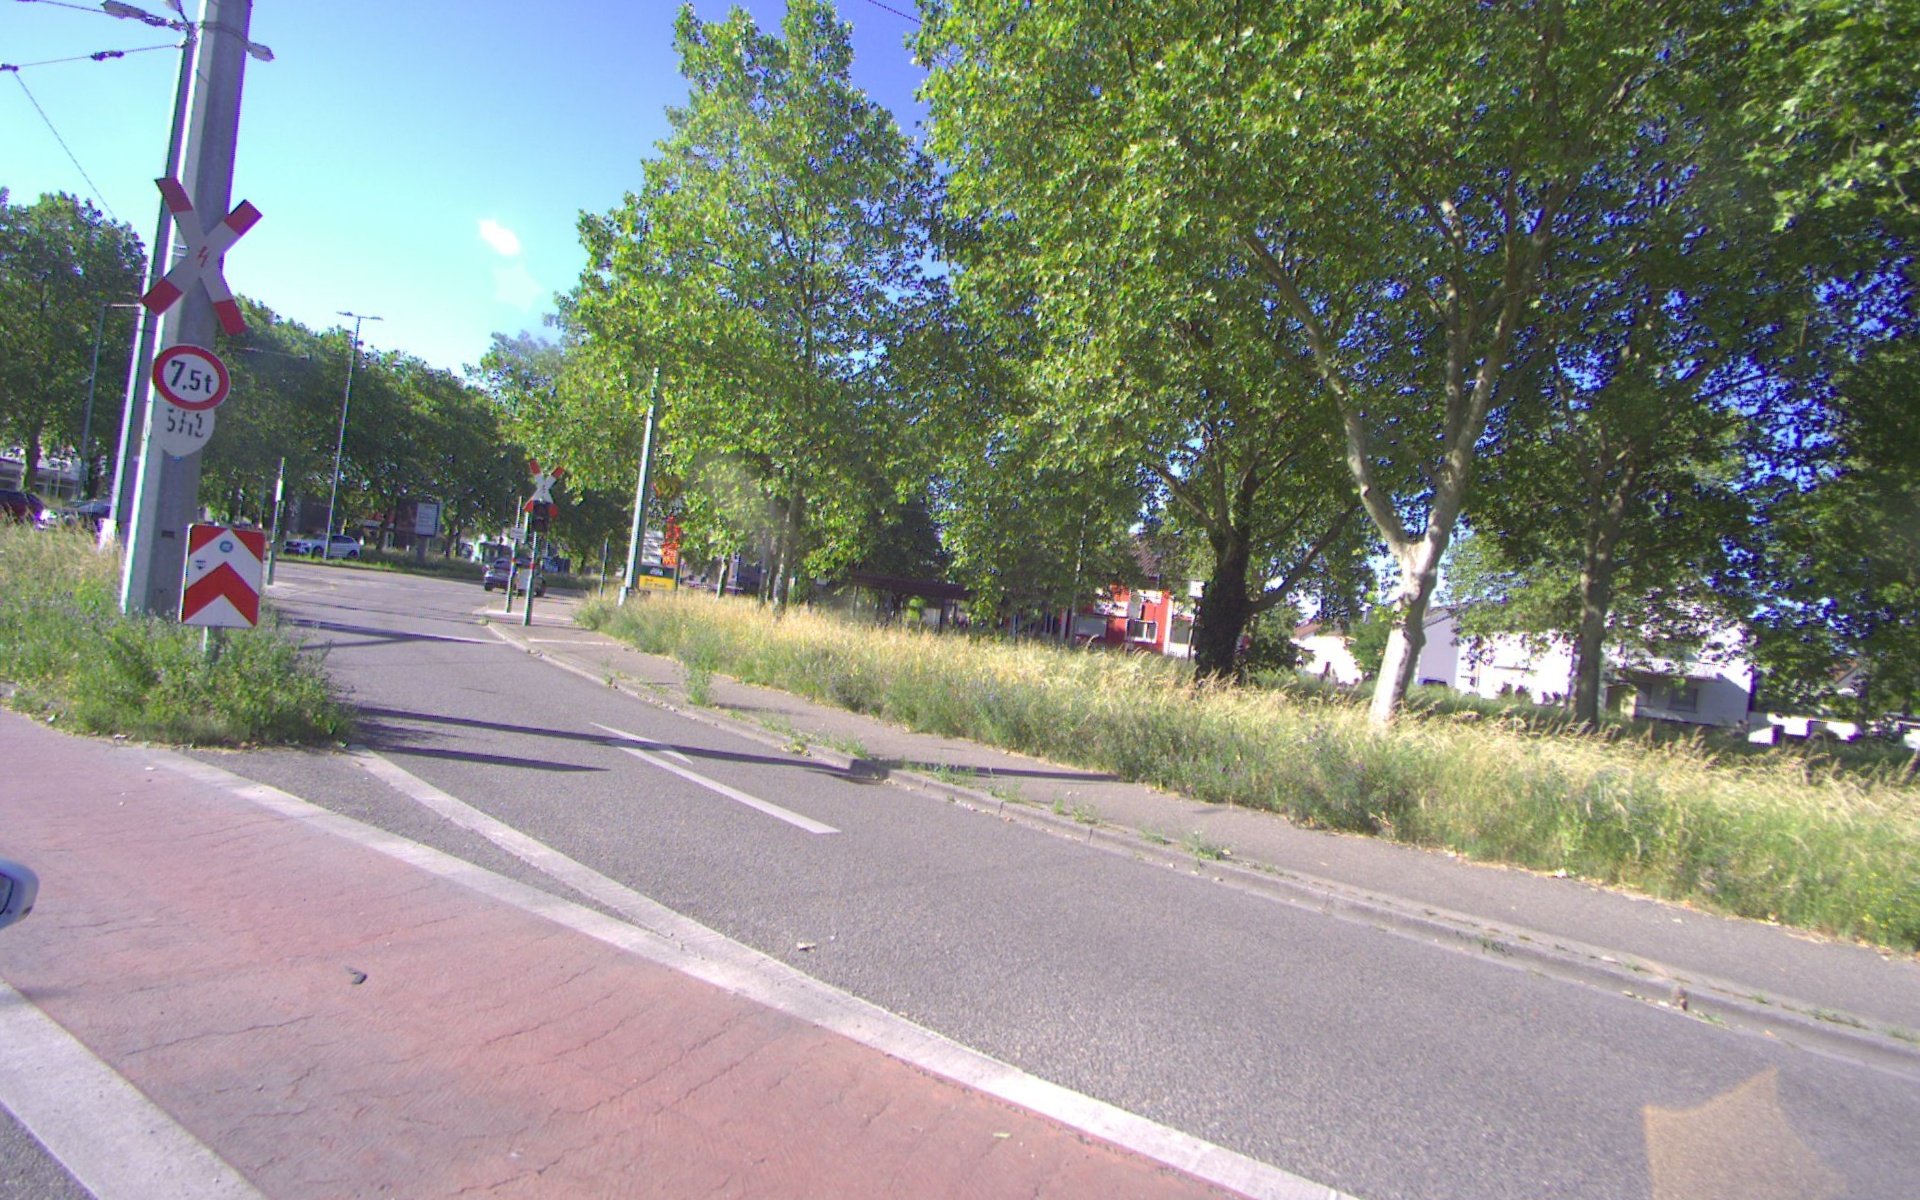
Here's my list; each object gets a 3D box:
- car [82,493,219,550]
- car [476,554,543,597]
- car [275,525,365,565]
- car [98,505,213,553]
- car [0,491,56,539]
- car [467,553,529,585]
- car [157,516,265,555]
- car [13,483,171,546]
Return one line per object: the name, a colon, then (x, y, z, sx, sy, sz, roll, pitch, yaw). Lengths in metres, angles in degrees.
car: (-41.869, -4.006, 52.221, 2.090, 2.094, 5.123, 7, -1, 17)
car: (-21.904, -1.131, 49.037, 1.796, 1.724, 3.769, 8, -1, -8)
car: (-38.049, -3.239, 59.960, 1.873, 1.701, 4.782, 7, -2, 4)
car: (-36.267, -3.164, 45.473, 1.680, 1.619, 3.863, 7, -1, 7)
car: (-36.957, -3.380, 37.857, 1.782, 1.619, 4.093, 7, -1, 7)
car: (-30.849, -2.060, 67.302, 1.962, 1.637, 4.002, 7, -1, 4)
car: (-39.025, -3.319, 52.604, 1.898, 1.424, 4.573, 7, -1, 4)
car: (-33.400, -3.232, 38.921, 1.885, 1.732, 4.497, 7, -1, 3)
